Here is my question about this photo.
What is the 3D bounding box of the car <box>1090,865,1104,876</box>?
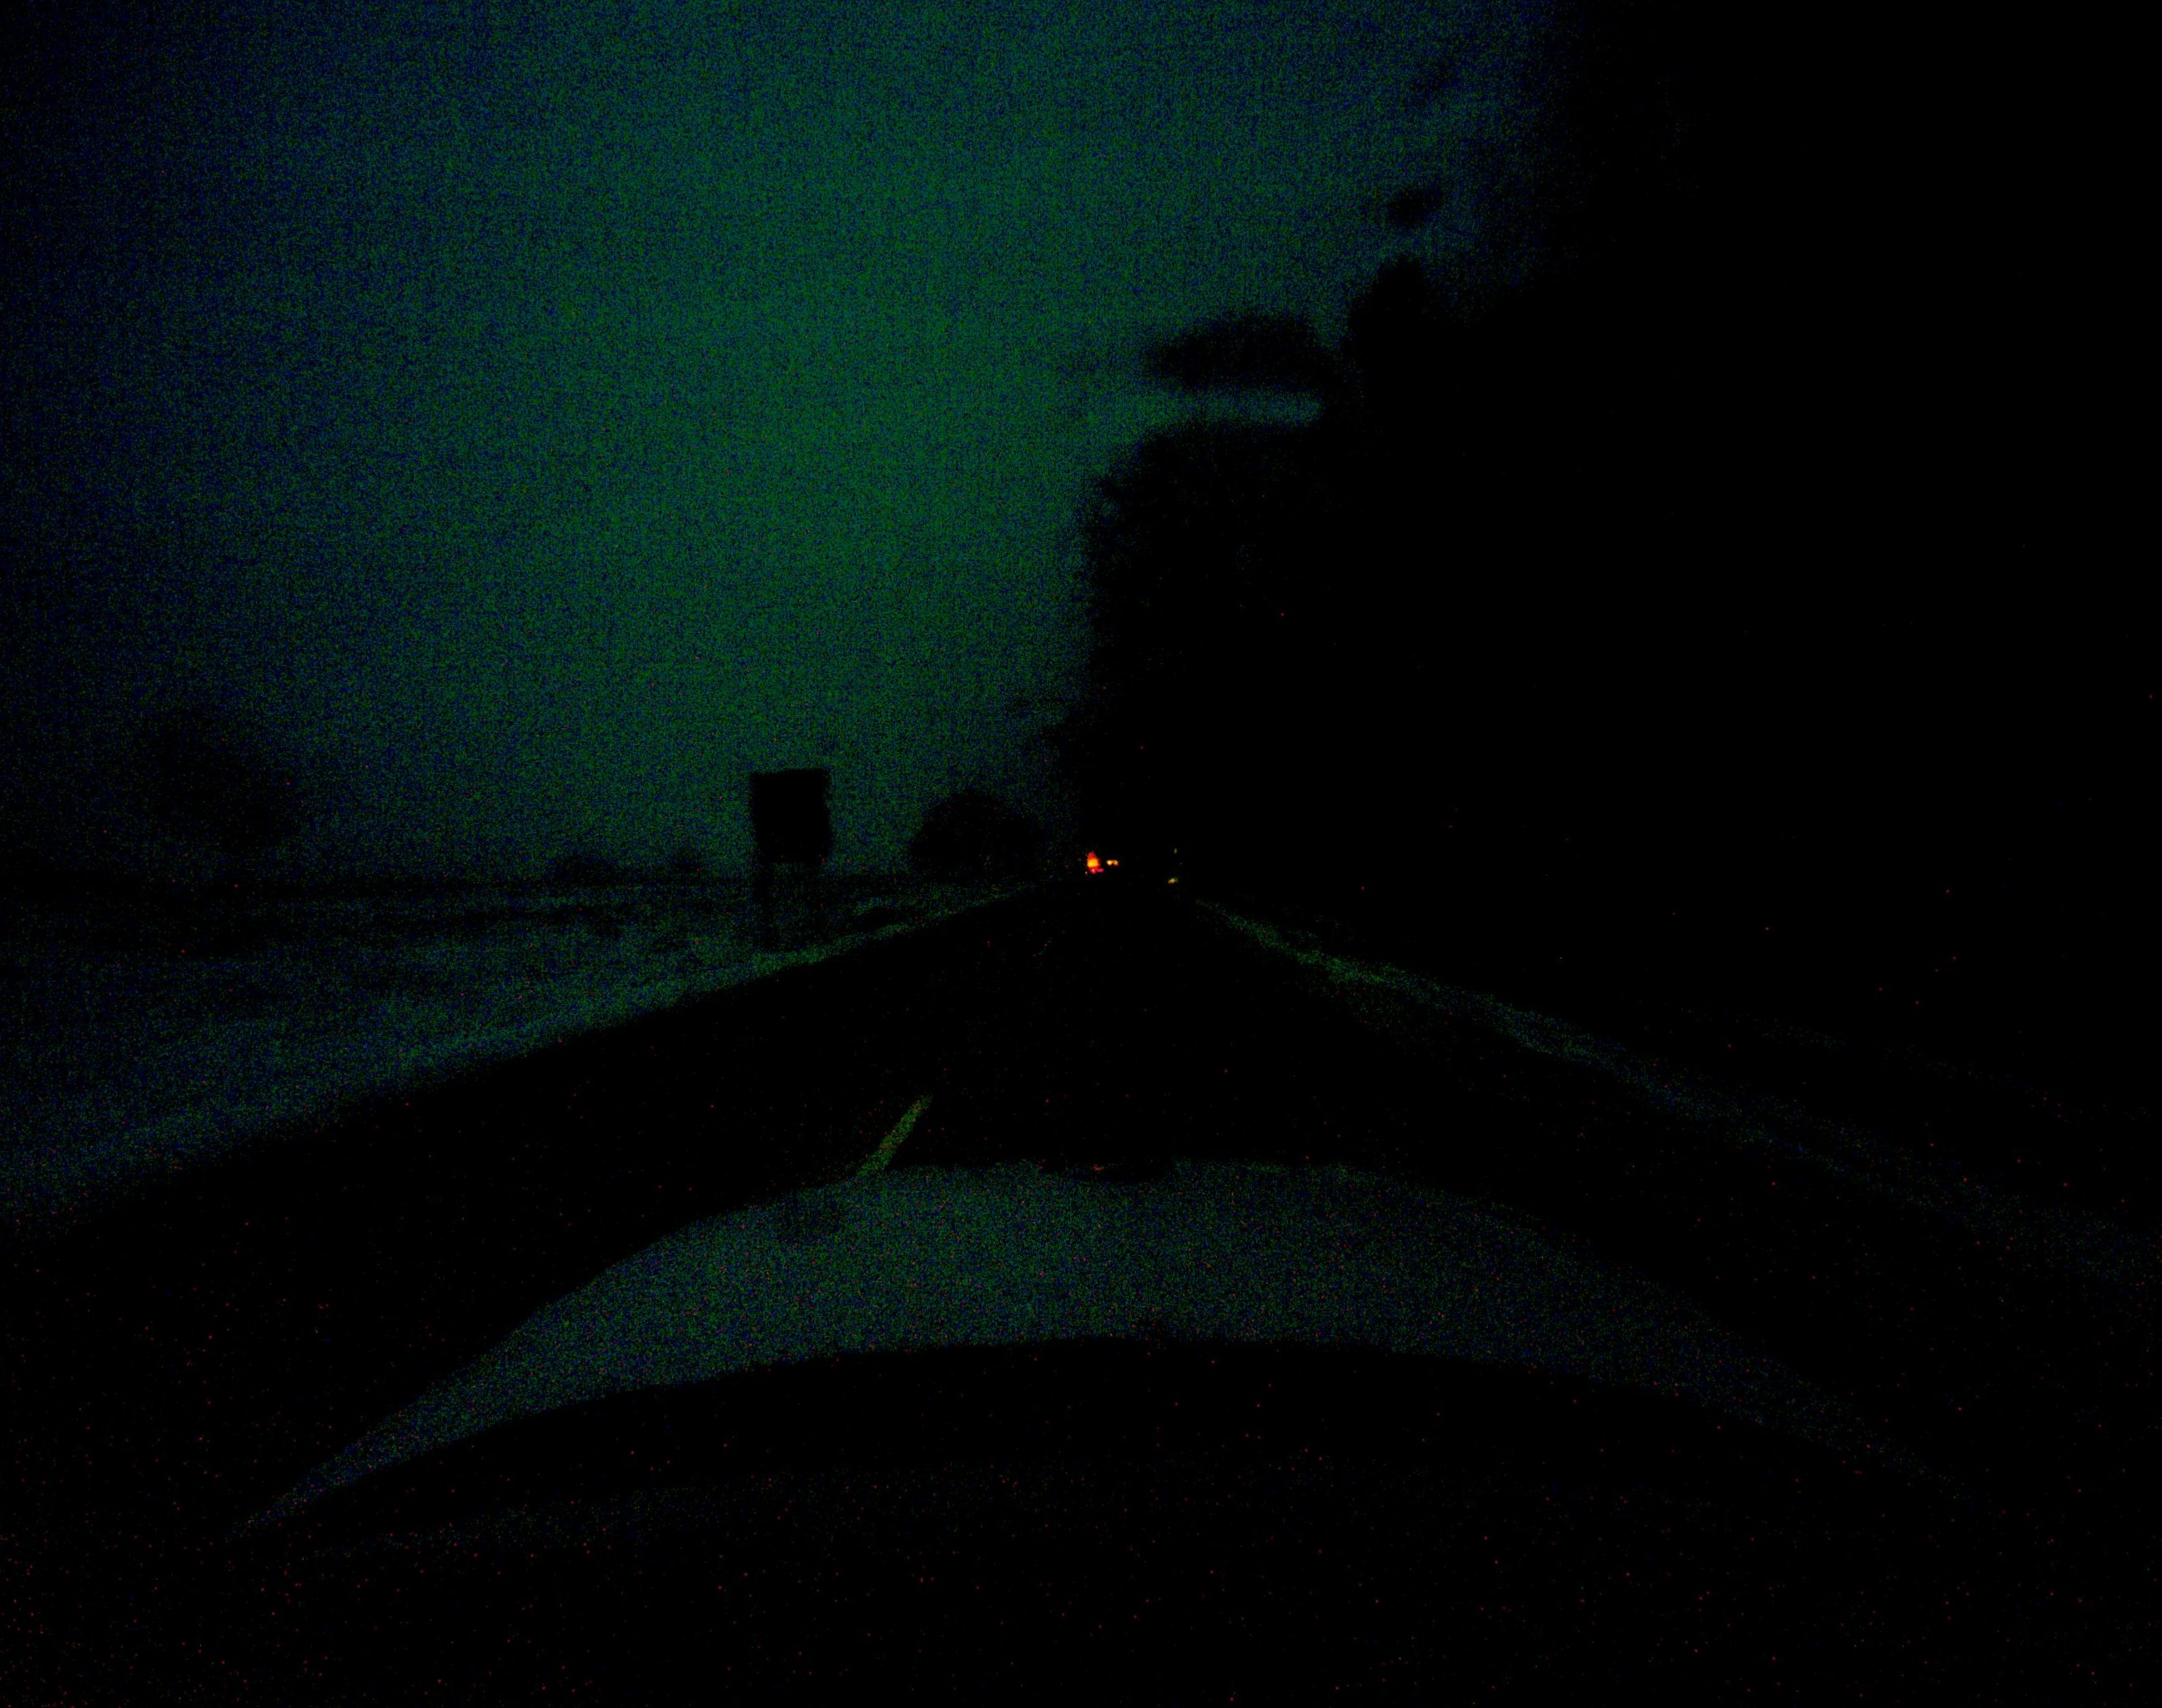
[{"bbox_3d":[2.354,2.525,122.923,1.987,1.420,3.999,-3,-2,0],"label":"car"}]
